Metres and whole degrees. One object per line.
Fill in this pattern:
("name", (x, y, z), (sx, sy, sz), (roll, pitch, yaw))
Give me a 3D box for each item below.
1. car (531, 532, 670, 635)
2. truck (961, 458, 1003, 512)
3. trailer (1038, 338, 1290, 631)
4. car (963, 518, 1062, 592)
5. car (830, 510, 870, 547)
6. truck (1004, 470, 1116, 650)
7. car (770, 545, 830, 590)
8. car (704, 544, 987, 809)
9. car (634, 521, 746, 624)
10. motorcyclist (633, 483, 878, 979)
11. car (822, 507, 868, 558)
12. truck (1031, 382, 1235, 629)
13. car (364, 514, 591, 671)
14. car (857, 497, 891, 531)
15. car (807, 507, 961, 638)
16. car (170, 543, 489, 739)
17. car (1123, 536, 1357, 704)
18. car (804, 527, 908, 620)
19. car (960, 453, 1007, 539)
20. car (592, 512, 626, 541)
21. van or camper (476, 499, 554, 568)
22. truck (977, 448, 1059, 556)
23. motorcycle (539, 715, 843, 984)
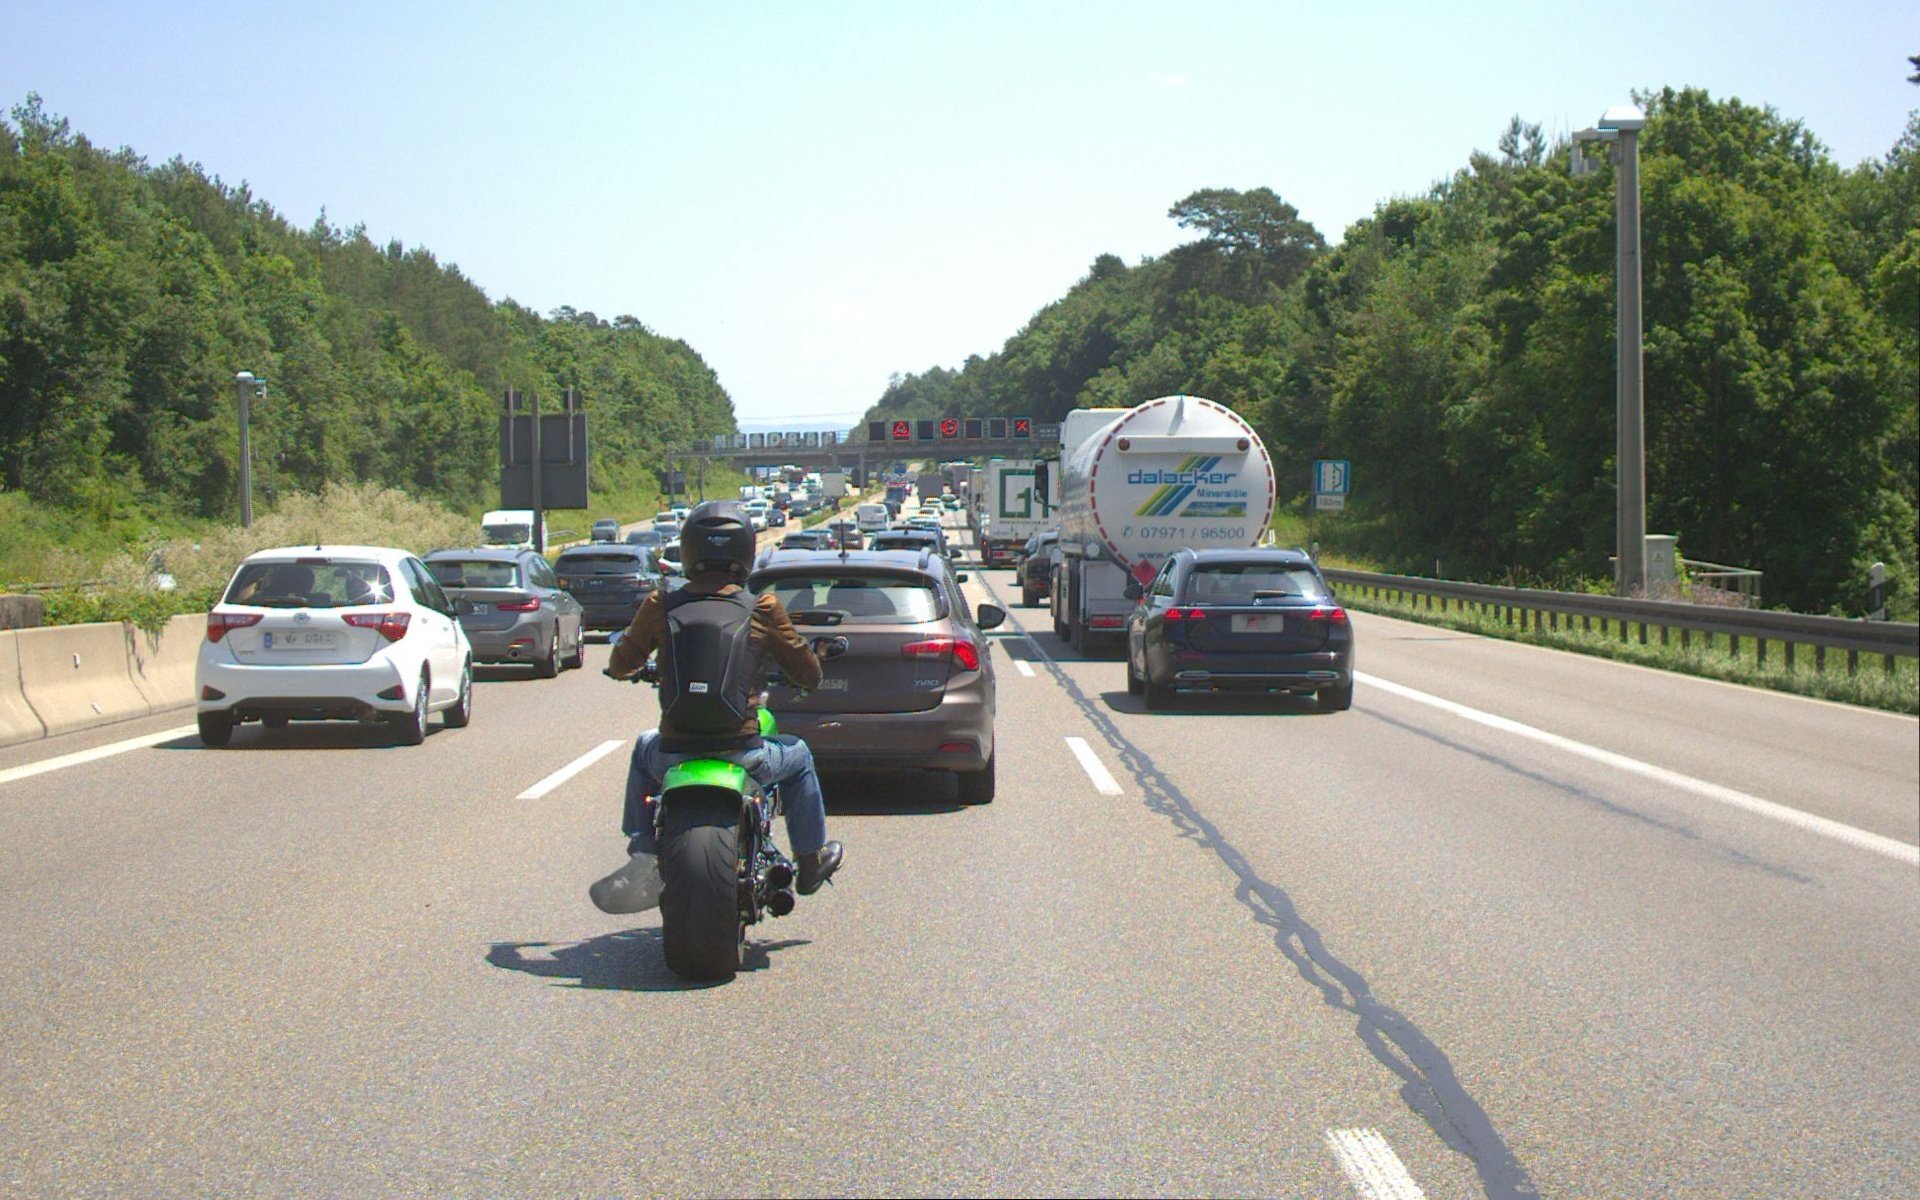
("car", (-5.373, -0.230, 51.716), (1.993, 1.459, 4.001), (1, 0, -5))
("truck", (1.486, -7.885, 236.923), (2.696, 3.394, 10.478), (-1, 0, 0))
("trailer", (2.684, -1.425, 48.511), (2.828, 3.658, 10.732), (1, 0, 0))
("car", (1.113, -0.946, 74.696), (1.775, 1.522, 4.000), (1, 0, -4))
("car", (-4.956, -3.219, 155.661), (1.660, 1.594, 4.000), (0, 0, 0))
("truck", (2.553, -1.097, 90.866), (2.388, 4.449, 10.870), (0, 1, -1))
("car", (-5.276, -1.086, 113.676), (1.764, 1.437, 4.000), (0, 1, 0))
("car", (-0.641, 0.401, 20.915), (1.541, 1.445, 4.000), (1, 1, 0))
("car", (-5.452, -0.529, 69.832), (1.993, 2.007, 4.000), (1, 0, -1))
("motorcyclist", (-0.709, 0.447, 12.227), (0.799, 1.682, 1.016), (1, 0, 0))
("car", (-4.545, -2.650, 135.946), (1.660, 1.971, 4.000), (0, 0, 0))
("truck", (2.642, -1.391, 54.394), (2.828, 3.658, 6.429), (1, 0, 0))
("car", (-5.435, -0.072, 39.273), (1.993, 1.678, 4.330), (1, 0, 0))
("car", (-5.246, -5.240, 210.757), (1.993, 2.007, 4.000), (-1, 0, 0))
("car", (-1.038, -0.354, 47.120), (1.993, 1.705, 4.000), (1, 0, -1))
("car", (-4.848, 0.271, 26.938), (1.776, 1.406, 4.000), (1, 1, 0))
("car", (2.564, 0.188, 32.405), (1.792, 1.453, 4.624), (1, 0, 0))
("car", (-2.036, -0.498, 67.958), (1.993, 1.769, 4.000), (1, 0, -1))
("car", (1.115, -5.036, 168.210), (2.167, 3.879, 9.330), (1, 0, 0))
("car", (-24.164, -5.058, 236.539), (1.993, 2.007, 4.000), (0, 1, -1))
("van or camper", (-16.531, -2.453, 127.978), (2.152, 2.414, 6.196), (1, 0, 0))
("truck", (2.224, -3.635, 129.415), (2.854, 3.808, 7.187), (1, 0, 2))
("motorcycle", (-0.933, 0.867, 12.565), (0.936, 0.790, 2.299), (1, 0, 0))
